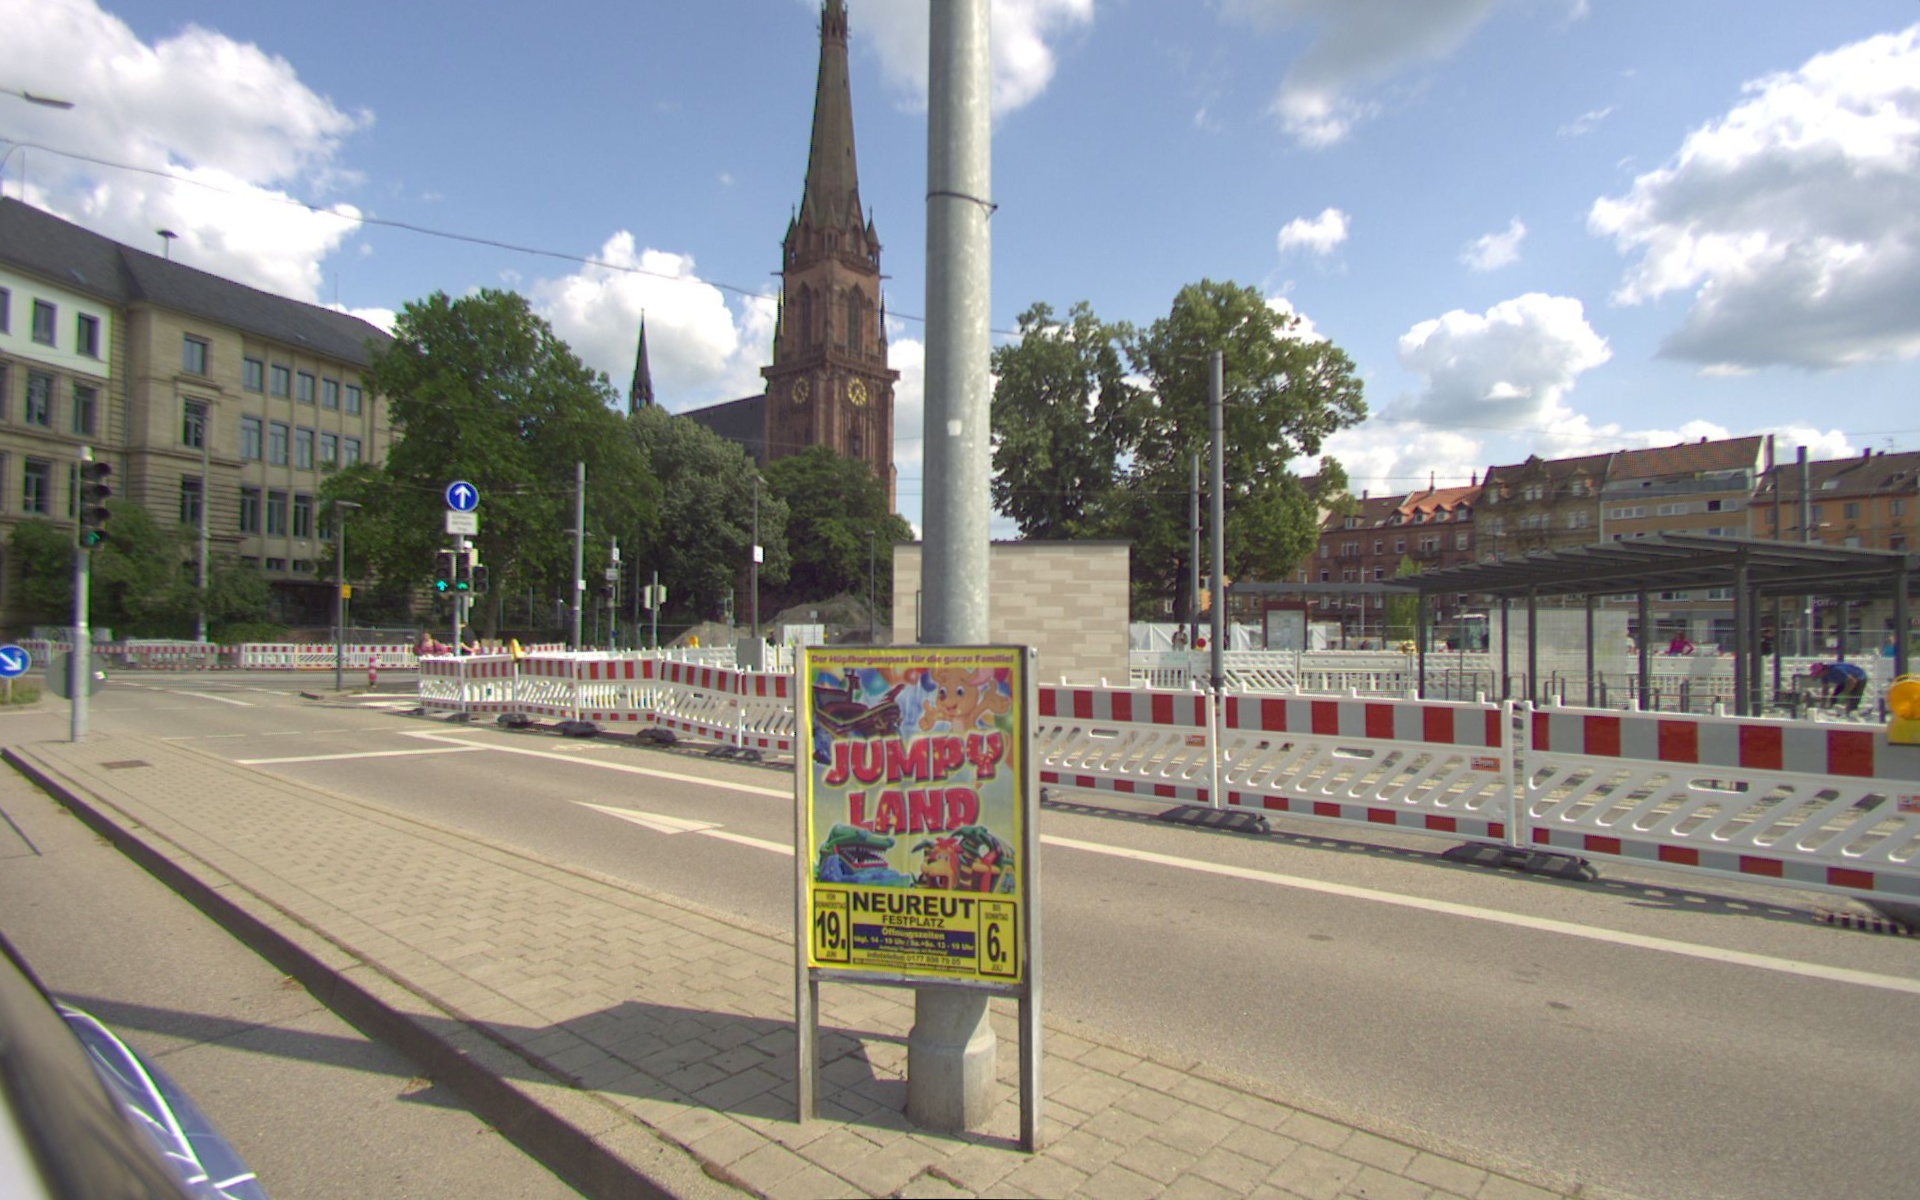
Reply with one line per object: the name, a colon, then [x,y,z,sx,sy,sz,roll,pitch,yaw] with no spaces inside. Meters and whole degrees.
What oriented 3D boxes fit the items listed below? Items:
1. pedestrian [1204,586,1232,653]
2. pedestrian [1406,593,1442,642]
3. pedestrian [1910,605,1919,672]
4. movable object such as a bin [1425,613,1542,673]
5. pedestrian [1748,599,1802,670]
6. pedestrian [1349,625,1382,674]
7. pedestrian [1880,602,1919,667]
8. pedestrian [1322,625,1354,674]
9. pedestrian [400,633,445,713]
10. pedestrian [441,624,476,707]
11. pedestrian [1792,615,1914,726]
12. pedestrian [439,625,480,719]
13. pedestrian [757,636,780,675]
pedestrian: [7.874,0.589,30.893,0.722,2.029,0.941,0,-1,8]
pedestrian: [13.934,0.518,30.392,0.722,1.442,0.941,0,-1,8]
pedestrian: [29.507,1.167,30.583,0.718,2.029,0.947,1,-1,-23]
movable object such as a bin: [23.604,1.921,45.810,3.954,2.594,2.643,0,-2,9]
pedestrian: [23.492,0.990,29.183,0.718,2.029,0.947,1,-1,-19]
pedestrian: [12.163,1.474,30.373,0.722,1.442,0.941,0,-1,8]
pedestrian: [29.812,1.084,31.893,0.718,2.029,0.947,1,-1,-19]
pedestrian: [11.374,1.465,30.470,0.722,1.442,0.941,0,-1,8]
pedestrian: [-11.775,1.593,22.183,0.620,1.720,0.607,-1,-3,29]
pedestrian: [-10.847,1.404,21.879,0.619,1.749,0.405,-2,-3,34]
pedestrian: [14.889,1.154,16.903,1.163,1.803,0.936,0,-1,2]
pedestrian: [-10.356,1.468,20.967,0.602,1.899,0.796,1,-3,-16]
pedestrian: [-8.207,2.358,43.331,0.784,1.665,0.576,-1,-3,21]
